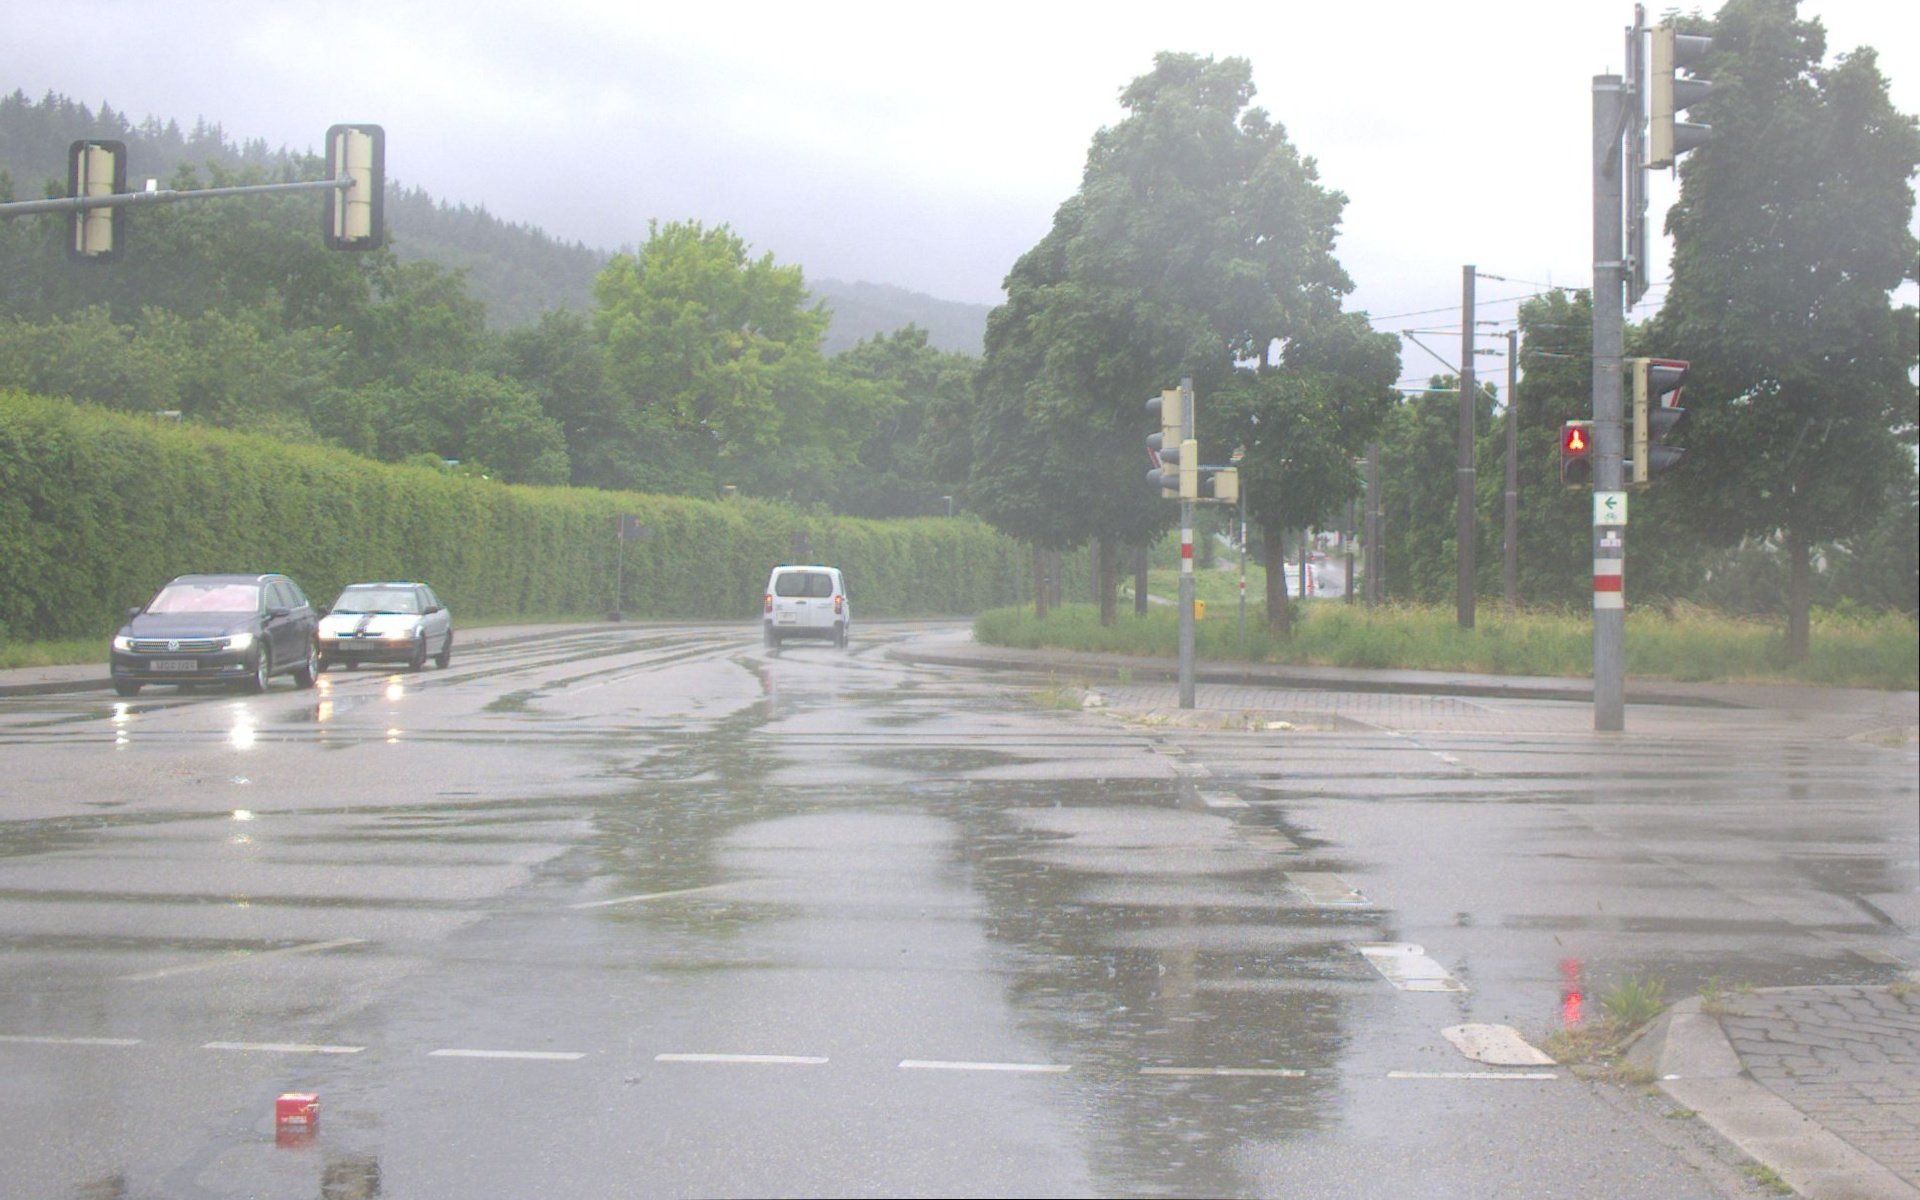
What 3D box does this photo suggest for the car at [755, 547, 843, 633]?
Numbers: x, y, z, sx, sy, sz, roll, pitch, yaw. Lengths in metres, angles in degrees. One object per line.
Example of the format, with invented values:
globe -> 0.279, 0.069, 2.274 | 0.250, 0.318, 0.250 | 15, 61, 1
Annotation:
car -> -3.637, -0.255, 77.837 | 1.953, 1.897, 4.120 | 0, 1, -2

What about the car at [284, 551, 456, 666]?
car -> -9.248, 0.100, 54.182 | 2.036, 1.702, 4.066 | 1, 1, -1

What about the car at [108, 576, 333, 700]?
car -> -9.281, 0.443, 43.483 | 1.709, 1.461, 4.452 | 0, 1, 3
